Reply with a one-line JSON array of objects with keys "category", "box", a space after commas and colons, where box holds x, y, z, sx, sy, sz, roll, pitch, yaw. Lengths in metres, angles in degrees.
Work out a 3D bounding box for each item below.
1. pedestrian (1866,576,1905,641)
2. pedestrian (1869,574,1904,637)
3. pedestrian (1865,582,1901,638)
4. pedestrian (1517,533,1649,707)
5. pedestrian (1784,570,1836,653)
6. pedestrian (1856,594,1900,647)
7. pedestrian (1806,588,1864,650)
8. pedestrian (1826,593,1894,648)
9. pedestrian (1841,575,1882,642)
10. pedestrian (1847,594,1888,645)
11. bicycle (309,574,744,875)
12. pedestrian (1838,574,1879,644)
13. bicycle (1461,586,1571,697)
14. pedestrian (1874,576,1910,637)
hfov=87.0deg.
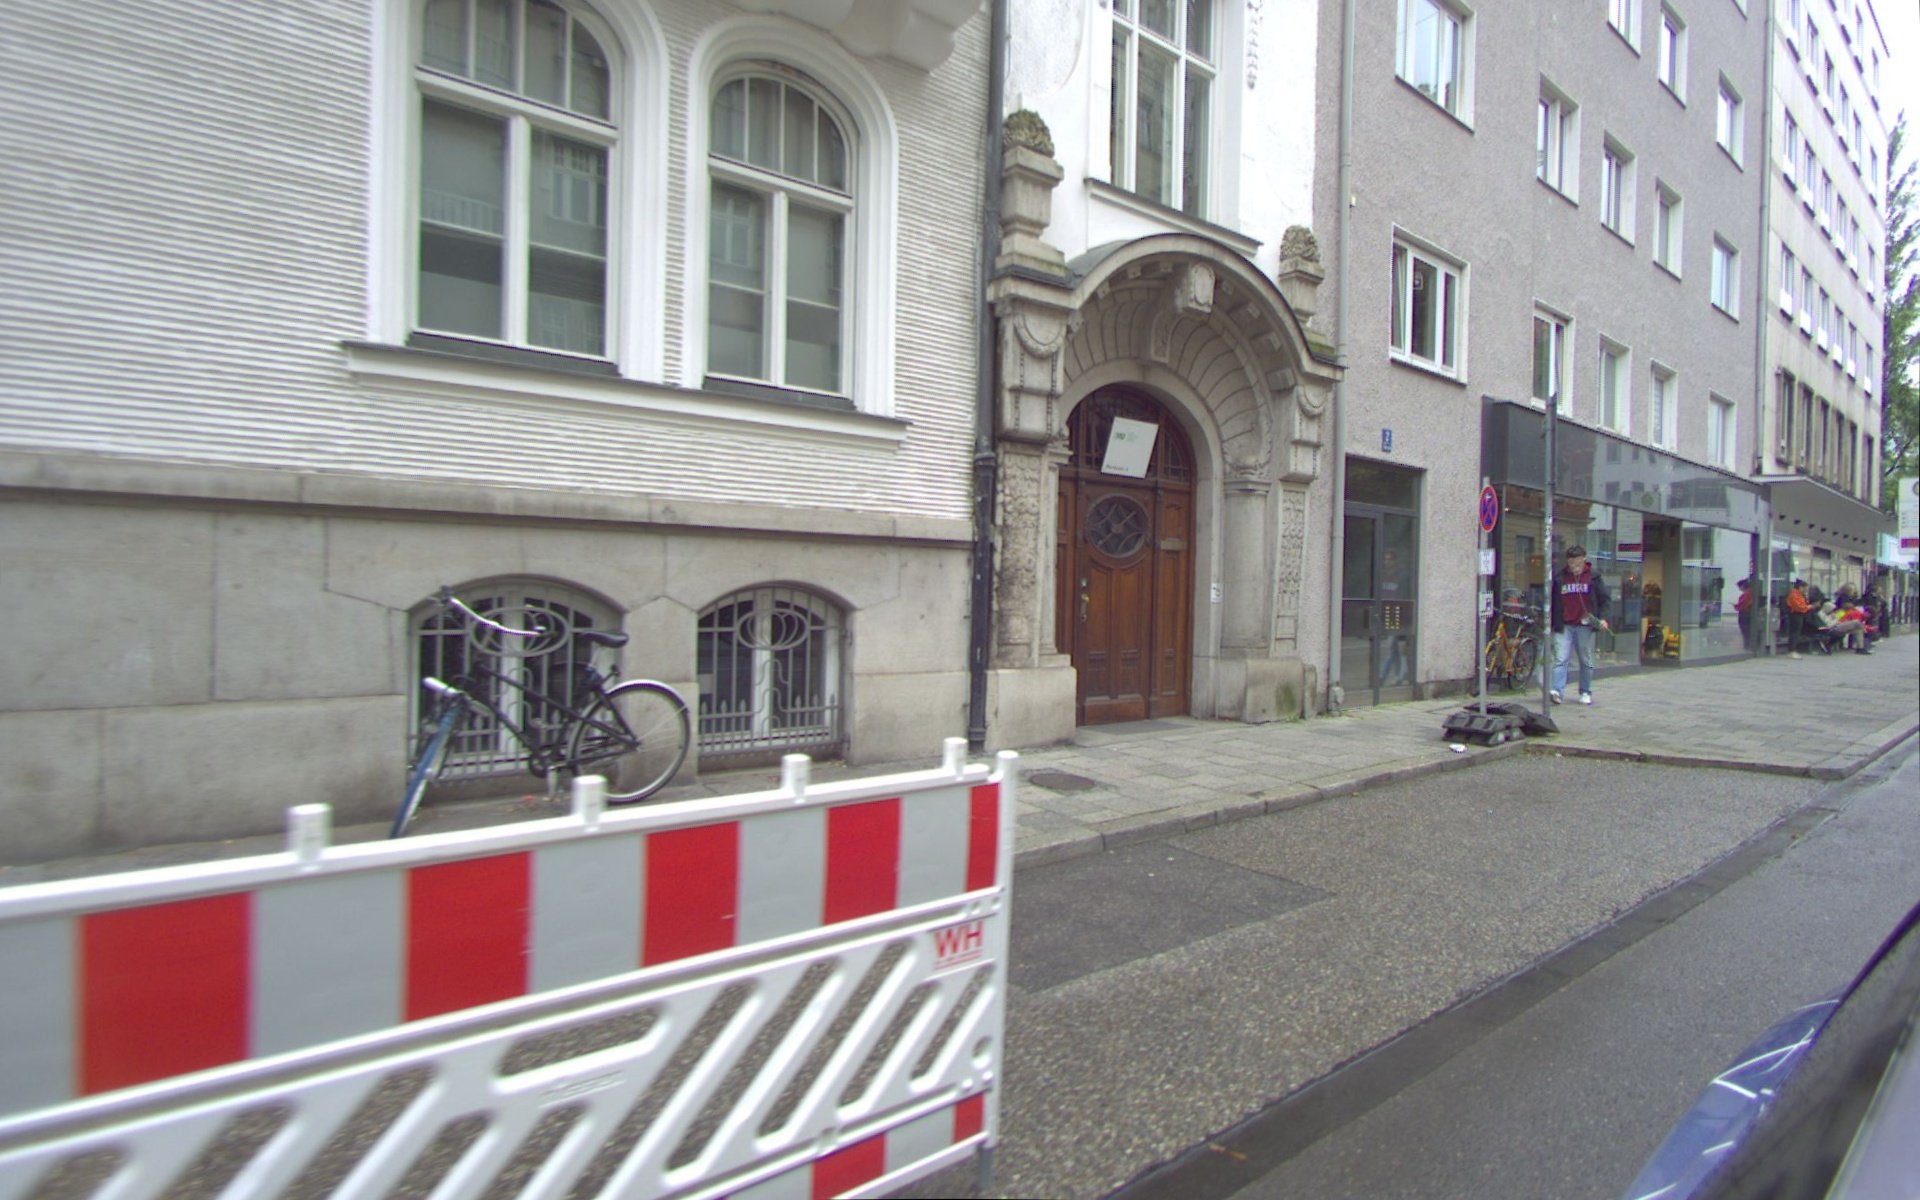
[{"category": "pedestrian", "box": [25.599, 0.231, 27.987, 0.683, 1.755, 0.659, 0, 1, -39]}, {"category": "pedestrian", "box": [27.673, 0.159, 30.233, 0.683, 1.845, 0.659, 0, 1, -39]}, {"category": "pedestrian", "box": [26.810, 0.281, 29.400, 0.683, 1.613, 0.659, 0, 1, -39]}, {"category": "pedestrian", "box": [7.401, 0.199, 12.022, 1.158, 1.933, 0.930, 0, 3, -40]}, {"category": "pedestrian", "box": [18.269, 0.234, 21.752, 0.733, 1.755, 0.704, 0, 1, -39]}, {"category": "pedestrian", "box": [22.570, 0.499, 24.890, 0.574, 1.252, 0.709, 0, 1, -39]}, {"category": "pedestrian", "box": [20.275, 0.426, 23.453, 0.847, 1.369, 0.862, 0, 1, -39]}, {"category": "pedestrian", "box": [21.670, 0.473, 24.377, 0.656, 1.252, 1.099, 0, 1, -39]}, {"category": "pedestrian", "box": [24.014, 0.223, 26.962, 0.764, 1.755, 0.659, 0, 1, -39]}, {"category": "pedestrian", "box": [22.787, 0.477, 25.408, 0.487, 1.252, 0.681, 0, 1, -39]}, {"category": "bicycle", "box": [-2.113, 0.511, 5.123, 1.890, 1.220, 0.661, 0, 5, -44]}, {"category": "pedestrian", "box": [23.052, 0.219, 25.974, 0.671, 1.755, 0.659, 0, 1, -39]}, {"category": "bicycle", "box": [6.981, 0.489, 12.677, 1.788, 1.275, 0.513, 0, 5, -40]}, {"category": "pedestrian", "box": [28.272, 0.181, 30.693, 0.757, 1.805, 0.659, 0, 1, -39]}]
